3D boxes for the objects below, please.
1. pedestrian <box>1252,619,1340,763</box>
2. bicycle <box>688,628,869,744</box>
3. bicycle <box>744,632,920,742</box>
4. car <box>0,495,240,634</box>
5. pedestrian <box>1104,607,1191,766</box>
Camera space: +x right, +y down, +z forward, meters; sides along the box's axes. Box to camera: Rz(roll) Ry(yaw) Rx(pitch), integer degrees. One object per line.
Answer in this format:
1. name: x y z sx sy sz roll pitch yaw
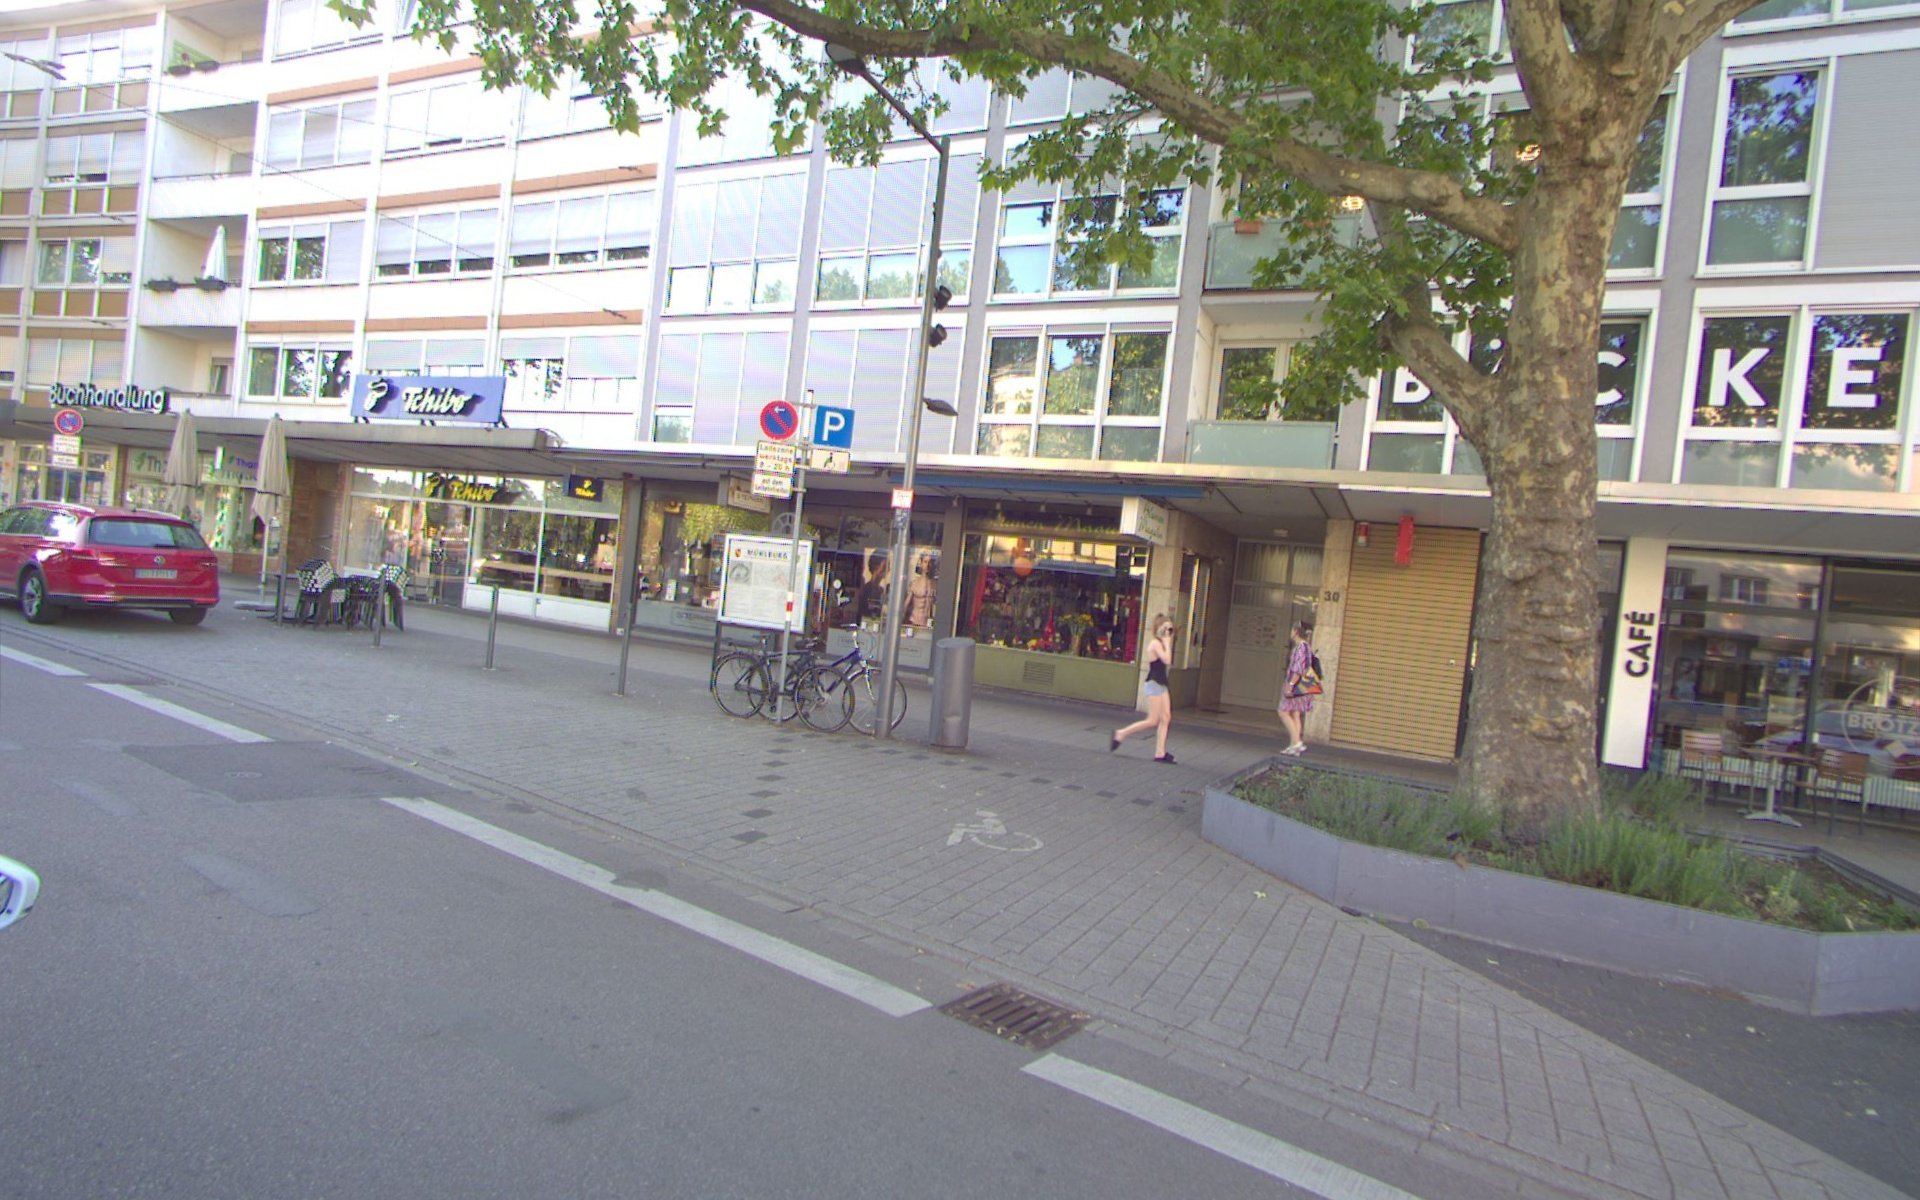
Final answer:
1. pedestrian: 4.068 1.077 12.180 0.776 1.613 0.651 7 3 26
2. bicycle: -1.875 0.863 10.364 1.743 0.951 0.391 6 2 12
3. bicycle: -1.362 0.905 10.700 1.743 0.931 0.391 6 2 12
4. car: -11.887 -0.536 13.591 4.229 1.502 1.772 7 1 28
5. pedestrian: 2.027 0.913 10.834 0.631 1.596 0.560 7 1 26
